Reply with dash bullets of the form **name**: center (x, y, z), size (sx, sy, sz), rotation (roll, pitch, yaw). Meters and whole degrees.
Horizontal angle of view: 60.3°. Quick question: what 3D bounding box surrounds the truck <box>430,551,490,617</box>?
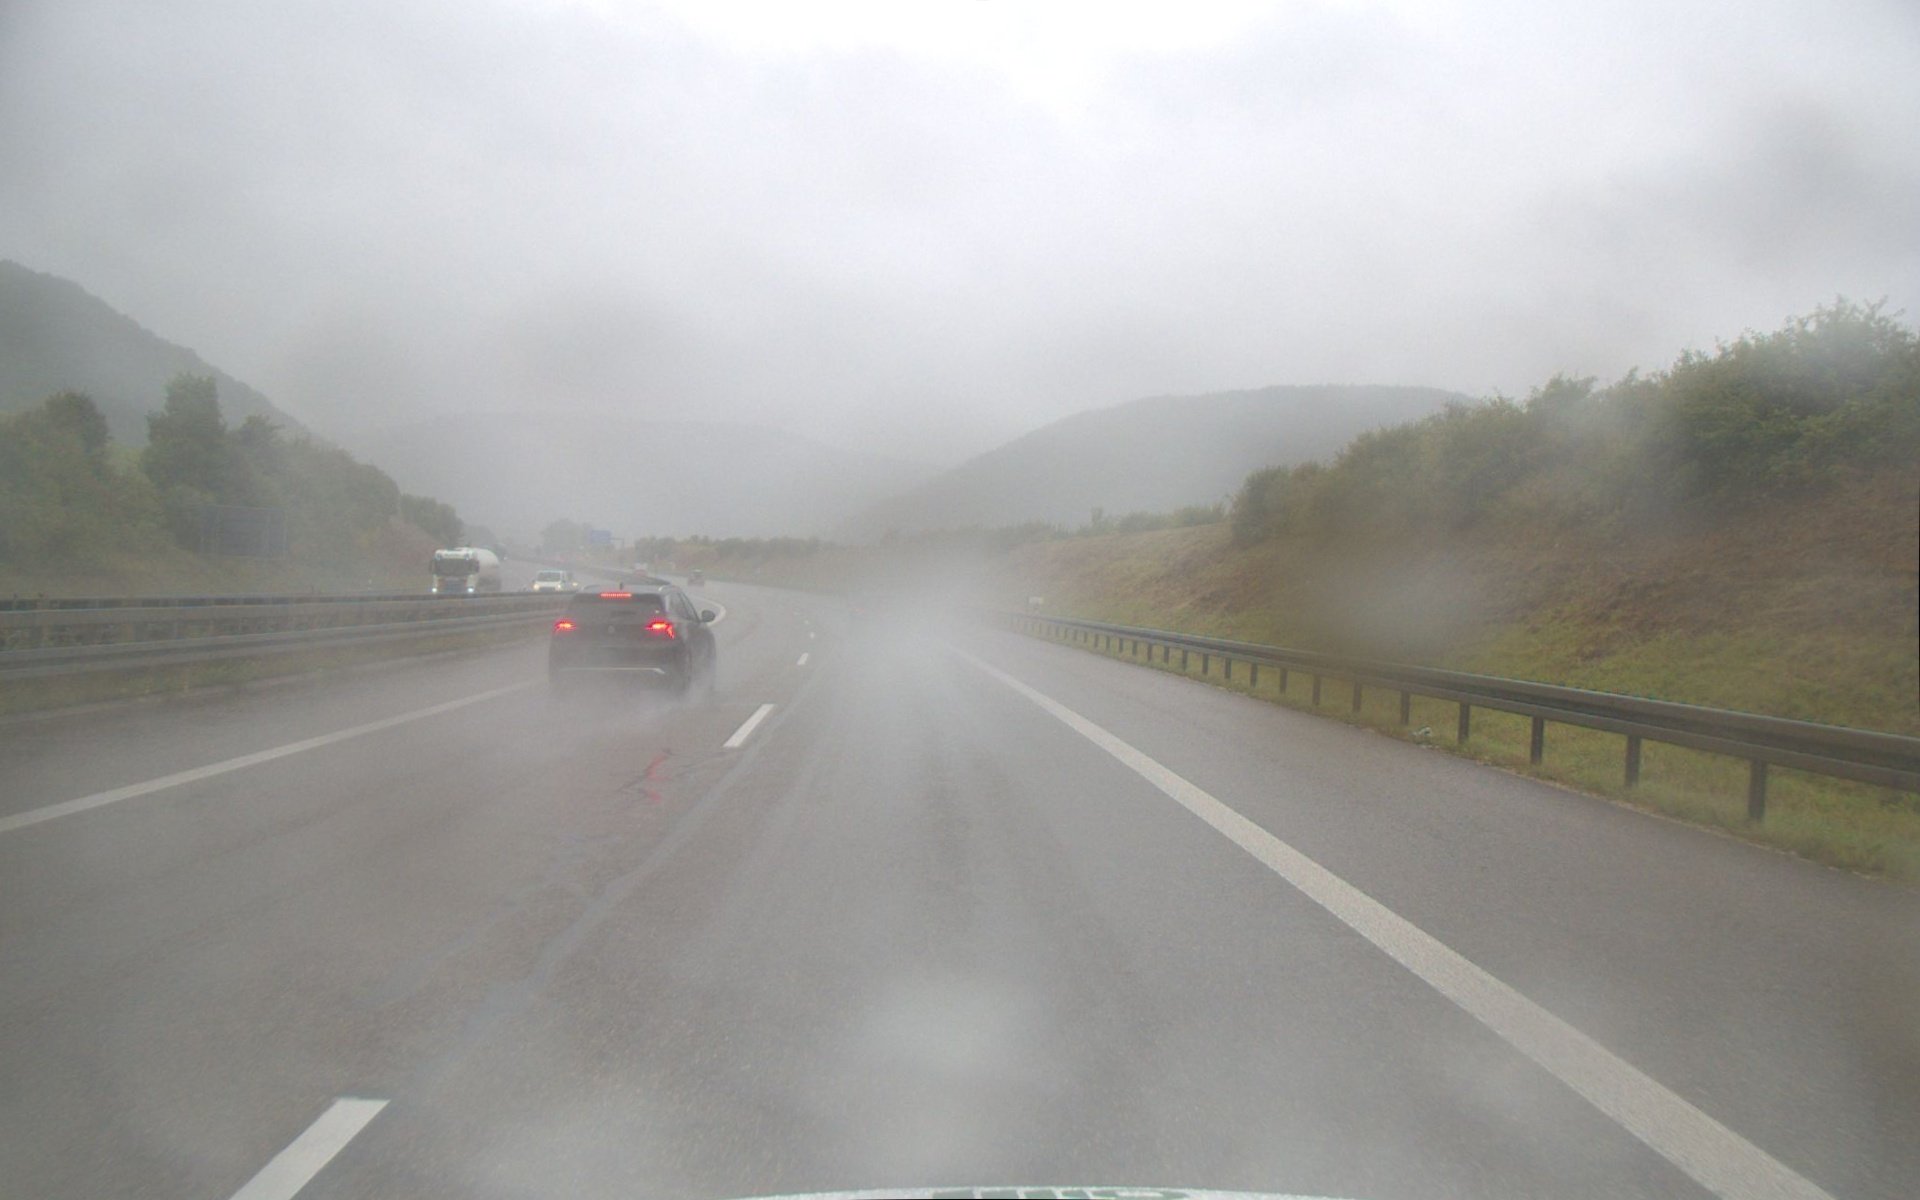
- **truck**: center (-30.436, -0.962, 100.853), size (2.831, 3.868, 5.304), rotation (1, 0, -9)

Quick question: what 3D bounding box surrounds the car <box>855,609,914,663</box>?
- **car**: center (-2.311, 1.068, 49.978), size (1.646, 1.498, 3.811), rotation (2, 0, -4)

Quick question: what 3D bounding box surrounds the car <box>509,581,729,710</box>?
- **car**: center (-4.626, 0.583, 23.242), size (2.359, 1.542, 4.779), rotation (2, 0, -4)

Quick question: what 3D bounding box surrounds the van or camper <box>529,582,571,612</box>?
- **van or camper**: center (-27.085, -0.202, 109.344), size (1.955, 1.910, 5.339), rotation (0, 0, -6)
